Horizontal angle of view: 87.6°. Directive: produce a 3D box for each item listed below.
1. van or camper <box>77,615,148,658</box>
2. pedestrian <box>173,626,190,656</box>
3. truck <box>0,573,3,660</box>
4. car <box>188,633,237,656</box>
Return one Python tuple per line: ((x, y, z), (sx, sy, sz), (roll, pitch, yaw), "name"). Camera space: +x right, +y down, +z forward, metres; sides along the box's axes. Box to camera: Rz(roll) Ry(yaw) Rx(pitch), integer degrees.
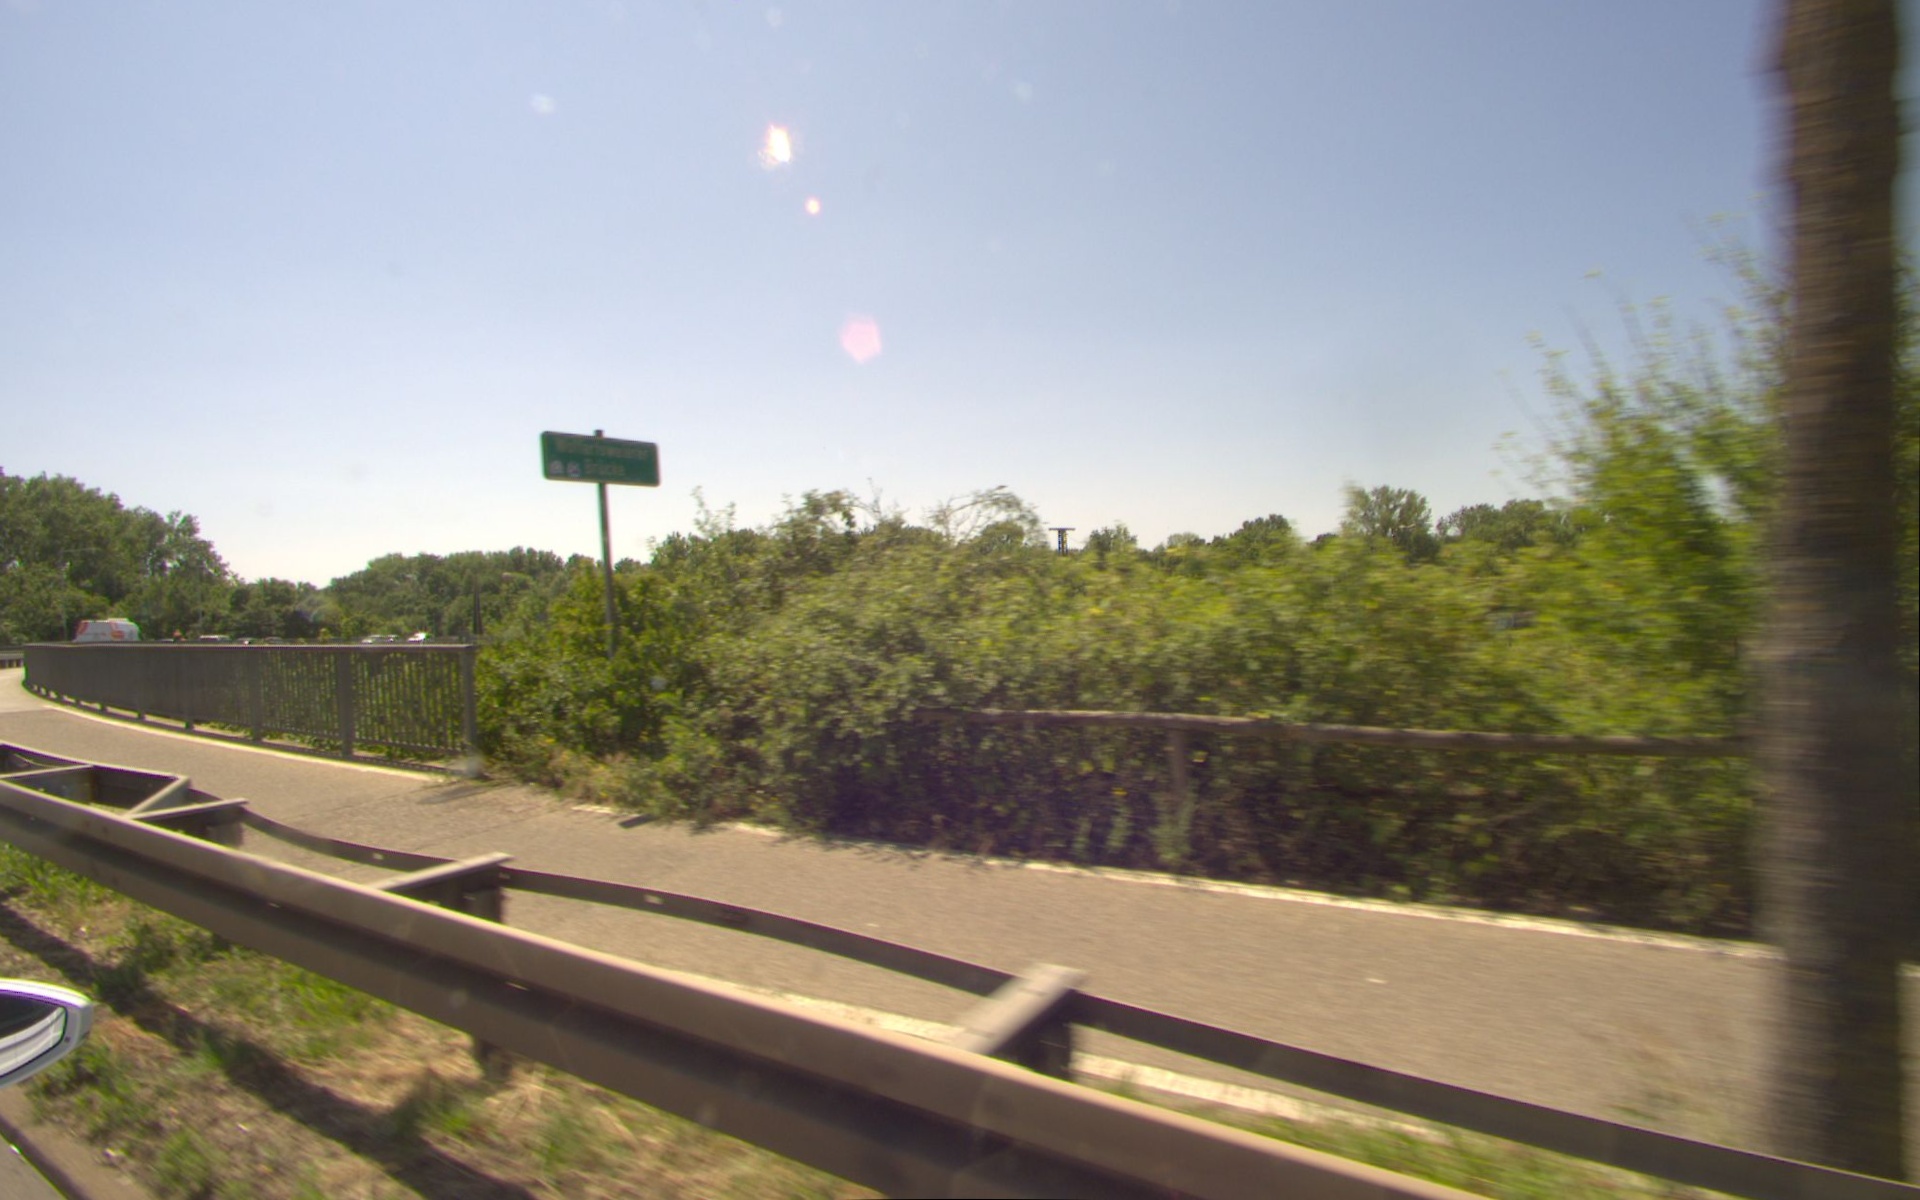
((-57.224, 2.465, 67.722), (2.176, 2.745, 5.905), (0, -2, -25), "van or camper")
((-52.068, 2.750, 66.957), (0.727, 1.992, 0.732), (1, -2, -24), "pedestrian")
((-45.414, 0.848, 44.571), (3.143, 4.641, 7.344), (2, -3, -37), "truck")
((-62.415, 3.755, 83.680), (1.861, 1.872, 3.997), (0, -3, -16), "car")
